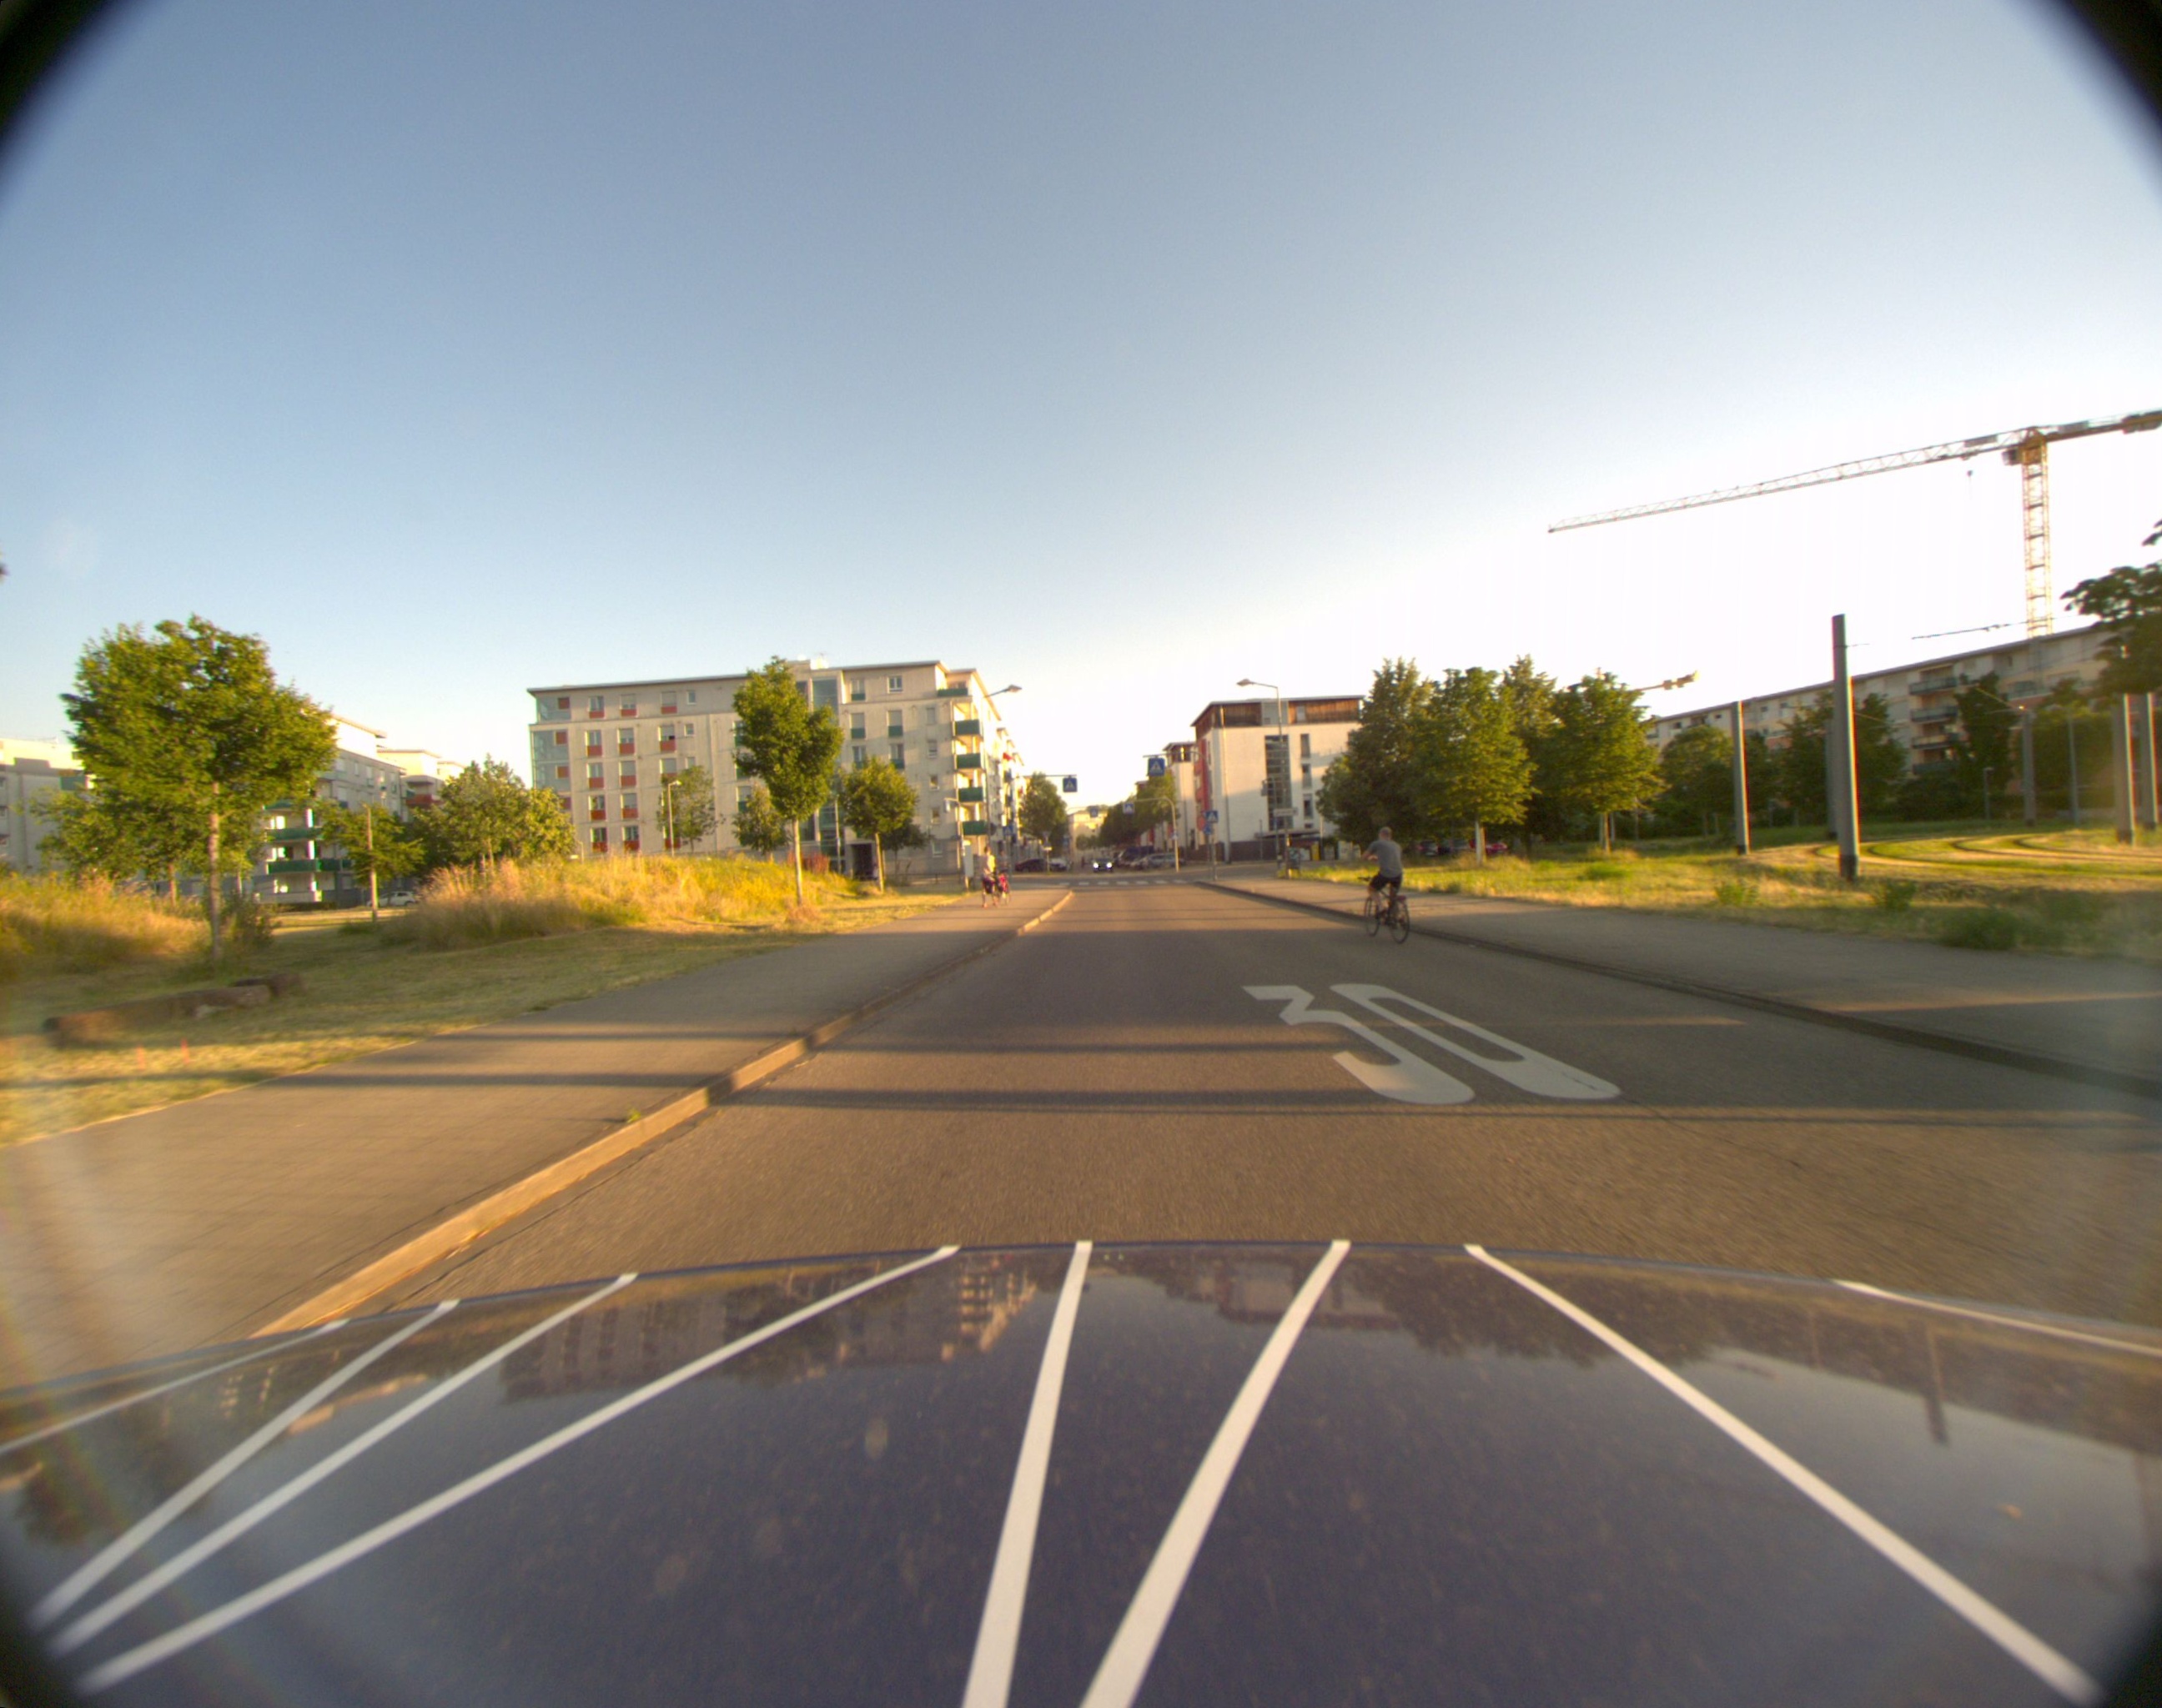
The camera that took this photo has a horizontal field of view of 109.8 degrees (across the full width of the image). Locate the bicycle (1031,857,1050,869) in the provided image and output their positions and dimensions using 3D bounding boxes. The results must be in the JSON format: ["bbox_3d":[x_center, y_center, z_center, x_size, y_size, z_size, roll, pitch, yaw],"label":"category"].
[{"bbox_3d":[-3.747,0.841,70.232,1.793,1.035,0.567,0,-1,-4],"label":"bicycle"}]

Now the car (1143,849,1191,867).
[{"bbox_3d":[8.315,0.377,73.551,4.292,1.449,1.680,-3,0,-2],"label":"car"}]

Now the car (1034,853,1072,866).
[{"bbox_3d":[-3.225,0.613,86.119,4.295,1.499,1.685,0,0,-4],"label":"car"}]

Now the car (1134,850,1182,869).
[{"bbox_3d":[7.958,0.536,78.763,4.784,1.546,1.711,-5,0,3],"label":"car"}]

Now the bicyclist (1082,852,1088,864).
[{"bbox_3d":[0.503,0.574,103.216,0.767,1.618,0.663,-3,0,-2],"label":"bicyclist"}]

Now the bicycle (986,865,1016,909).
[{"bbox_3d":[-2.269,0.925,21.646,0.451,1.162,1.942,-3,-1,4],"label":"bicycle"}]

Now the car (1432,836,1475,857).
[{"bbox_3d":[27.920,-0.565,57.111,1.593,1.492,3.410,-3,1,2],"label":"car"}]

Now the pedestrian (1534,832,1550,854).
[{"bbox_3d":[36.028,-0.882,59.371,0.743,1.657,0.624,-4,1,-4],"label":"pedestrian"}]

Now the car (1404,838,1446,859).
[{"bbox_3d":[25.959,-0.421,57.412,1.689,1.513,3.410,-3,1,2],"label":"car"}]

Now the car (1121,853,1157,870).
[{"bbox_3d":[6.743,0.907,88.748,3.919,1.700,1.723,-3,0,-4],"label":"car"}]

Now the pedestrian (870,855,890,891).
[{"bbox_3d":[-10.404,0.971,39.295,0.734,1.774,0.802,-3,0,1],"label":"pedestrian"}]

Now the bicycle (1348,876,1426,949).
[{"bbox_3d":[4.945,0.912,12.413,0.540,1.037,1.925,-3,-1,3],"label":"bicycle"}]

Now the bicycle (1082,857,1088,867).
[{"bbox_3d":[0.526,1.104,103.232,0.771,1.259,1.781,-3,0,-2],"label":"bicycle"}]

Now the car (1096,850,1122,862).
[{"bbox_3d":[4.794,0.324,129.572,4.251,1.919,1.692,0,0,-1],"label":"car"}]

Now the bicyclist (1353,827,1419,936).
[{"bbox_3d":[4.889,0.432,12.254,0.616,1.653,1.036,-3,0,3],"label":"bicyclist"}]

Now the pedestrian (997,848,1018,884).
[{"bbox_3d":[-3.591,0.583,37.156,0.801,1.719,0.768,-3,0,7],"label":"pedestrian"}]

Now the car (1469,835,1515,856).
[{"bbox_3d":[30.637,-0.627,56.740,1.593,1.492,3.410,-3,1,2],"label":"car"}]

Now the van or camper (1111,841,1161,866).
[{"bbox_3d":[7.481,-0.043,104.110,6.315,3.069,2.441,-3,0,-5],"label":"van or camper"}]

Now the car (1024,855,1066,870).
[{"bbox_3d":[-3.673,0.892,78.878,4.294,1.485,1.742,0,0,-1],"label":"car"}]

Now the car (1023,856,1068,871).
[{"bbox_3d":[-3.535,0.911,76.152,4.411,1.499,1.743,0,0,3],"label":"car"}]

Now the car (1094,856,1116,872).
[{"bbox_3d":[2.199,0.913,71.036,1.777,1.454,4.178,0,0,-1],"label":"car"}]

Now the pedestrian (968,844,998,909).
[{"bbox_3d":[-2.782,0.646,21.710,0.596,1.791,0.818,-3,0,5],"label":"pedestrian"}]

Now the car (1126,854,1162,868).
[{"bbox_3d":[7.551,0.831,91.038,3.919,1.506,1.723,-3,0,-5],"label":"car"}]

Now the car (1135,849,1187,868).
[{"bbox_3d":[7.973,0.488,76.133,4.916,1.469,1.710,-5,0,-2],"label":"car"}]

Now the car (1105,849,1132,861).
[{"bbox_3d":[5.915,0.129,119.775,4.251,1.919,1.692,0,0,-1],"label":"car"}]

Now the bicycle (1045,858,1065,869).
[{"bbox_3d":[-2.437,0.867,70.963,1.839,1.065,0.473,0,0,-4],"label":"bicycle"}]

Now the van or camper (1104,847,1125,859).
[{"bbox_3d":[6.965,-0.223,156.279,4.251,2.520,1.761,0,0,0],"label":"van or camper"}]

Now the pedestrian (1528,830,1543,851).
[{"bbox_3d":[35.941,-1.076,60.081,0.712,1.590,0.656,-5,1,-4],"label":"pedestrian"}]

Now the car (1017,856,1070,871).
[{"bbox_3d":[-3.576,0.909,73.271,4.886,1.449,1.938,0,0,2],"label":"car"}]

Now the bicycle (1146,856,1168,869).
[{"bbox_3d":[7.089,0.803,70.935,1.821,1.060,0.567,-6,0,-3],"label":"bicycle"}]

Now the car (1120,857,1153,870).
[{"bbox_3d":[7.160,1.253,98.655,4.103,1.616,1.723,0,0,-4],"label":"car"}]

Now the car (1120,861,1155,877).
[{"bbox_3d":[6.961,1.858,93.978,4.103,1.616,1.723,-3,0,-5],"label":"car"}]

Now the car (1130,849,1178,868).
[{"bbox_3d":[7.754,0.469,81.162,4.760,1.575,1.758,-5,0,-4],"label":"car"}]
